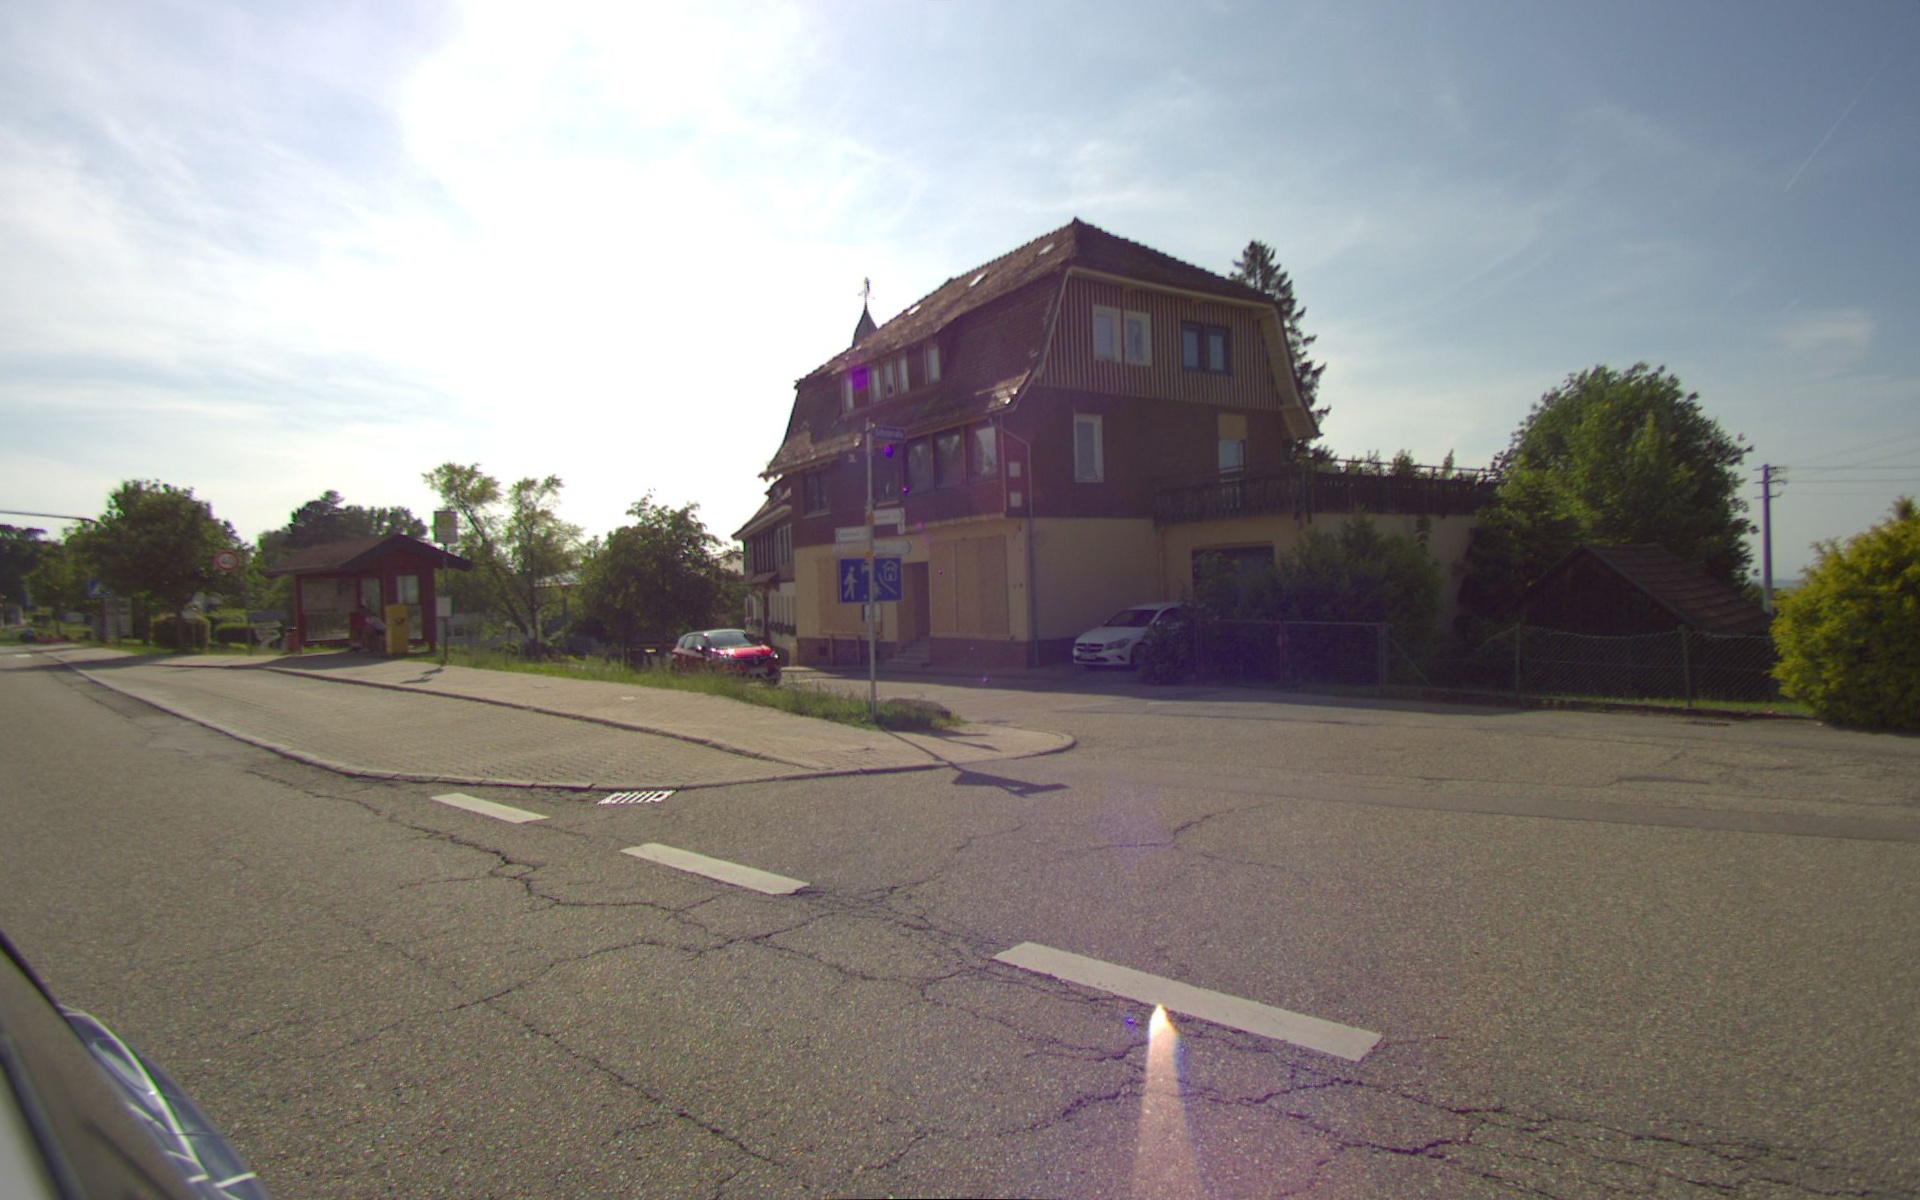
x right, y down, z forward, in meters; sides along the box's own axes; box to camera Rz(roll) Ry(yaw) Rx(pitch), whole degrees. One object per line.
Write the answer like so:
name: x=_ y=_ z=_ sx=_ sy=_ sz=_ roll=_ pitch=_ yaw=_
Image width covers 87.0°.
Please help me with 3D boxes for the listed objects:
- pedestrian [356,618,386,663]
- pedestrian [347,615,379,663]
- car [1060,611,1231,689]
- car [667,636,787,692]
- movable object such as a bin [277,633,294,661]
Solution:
pedestrian: x=-17.023 y=1.168 z=29.266 sx=0.423 sy=1.262 sz=0.623 roll=-2 pitch=-2 yaw=38
pedestrian: x=-17.481 y=1.148 z=29.652 sx=0.673 sy=1.375 sz=0.611 roll=-4 pitch=-4 yaw=40
car: x=4.627 y=1.152 z=24.916 sx=4.247 sy=1.522 sz=1.803 roll=-3 pitch=2 yaw=-39
car: x=-6.144 y=1.613 z=26.349 sx=1.697 sy=1.307 sz=4.010 roll=0 pitch=-2 yaw=-34
movable object such as a bin: x=-20.256 y=1.403 z=30.400 sx=0.485 sy=0.843 sz=0.302 roll=-1 pitch=-1 yaw=39
